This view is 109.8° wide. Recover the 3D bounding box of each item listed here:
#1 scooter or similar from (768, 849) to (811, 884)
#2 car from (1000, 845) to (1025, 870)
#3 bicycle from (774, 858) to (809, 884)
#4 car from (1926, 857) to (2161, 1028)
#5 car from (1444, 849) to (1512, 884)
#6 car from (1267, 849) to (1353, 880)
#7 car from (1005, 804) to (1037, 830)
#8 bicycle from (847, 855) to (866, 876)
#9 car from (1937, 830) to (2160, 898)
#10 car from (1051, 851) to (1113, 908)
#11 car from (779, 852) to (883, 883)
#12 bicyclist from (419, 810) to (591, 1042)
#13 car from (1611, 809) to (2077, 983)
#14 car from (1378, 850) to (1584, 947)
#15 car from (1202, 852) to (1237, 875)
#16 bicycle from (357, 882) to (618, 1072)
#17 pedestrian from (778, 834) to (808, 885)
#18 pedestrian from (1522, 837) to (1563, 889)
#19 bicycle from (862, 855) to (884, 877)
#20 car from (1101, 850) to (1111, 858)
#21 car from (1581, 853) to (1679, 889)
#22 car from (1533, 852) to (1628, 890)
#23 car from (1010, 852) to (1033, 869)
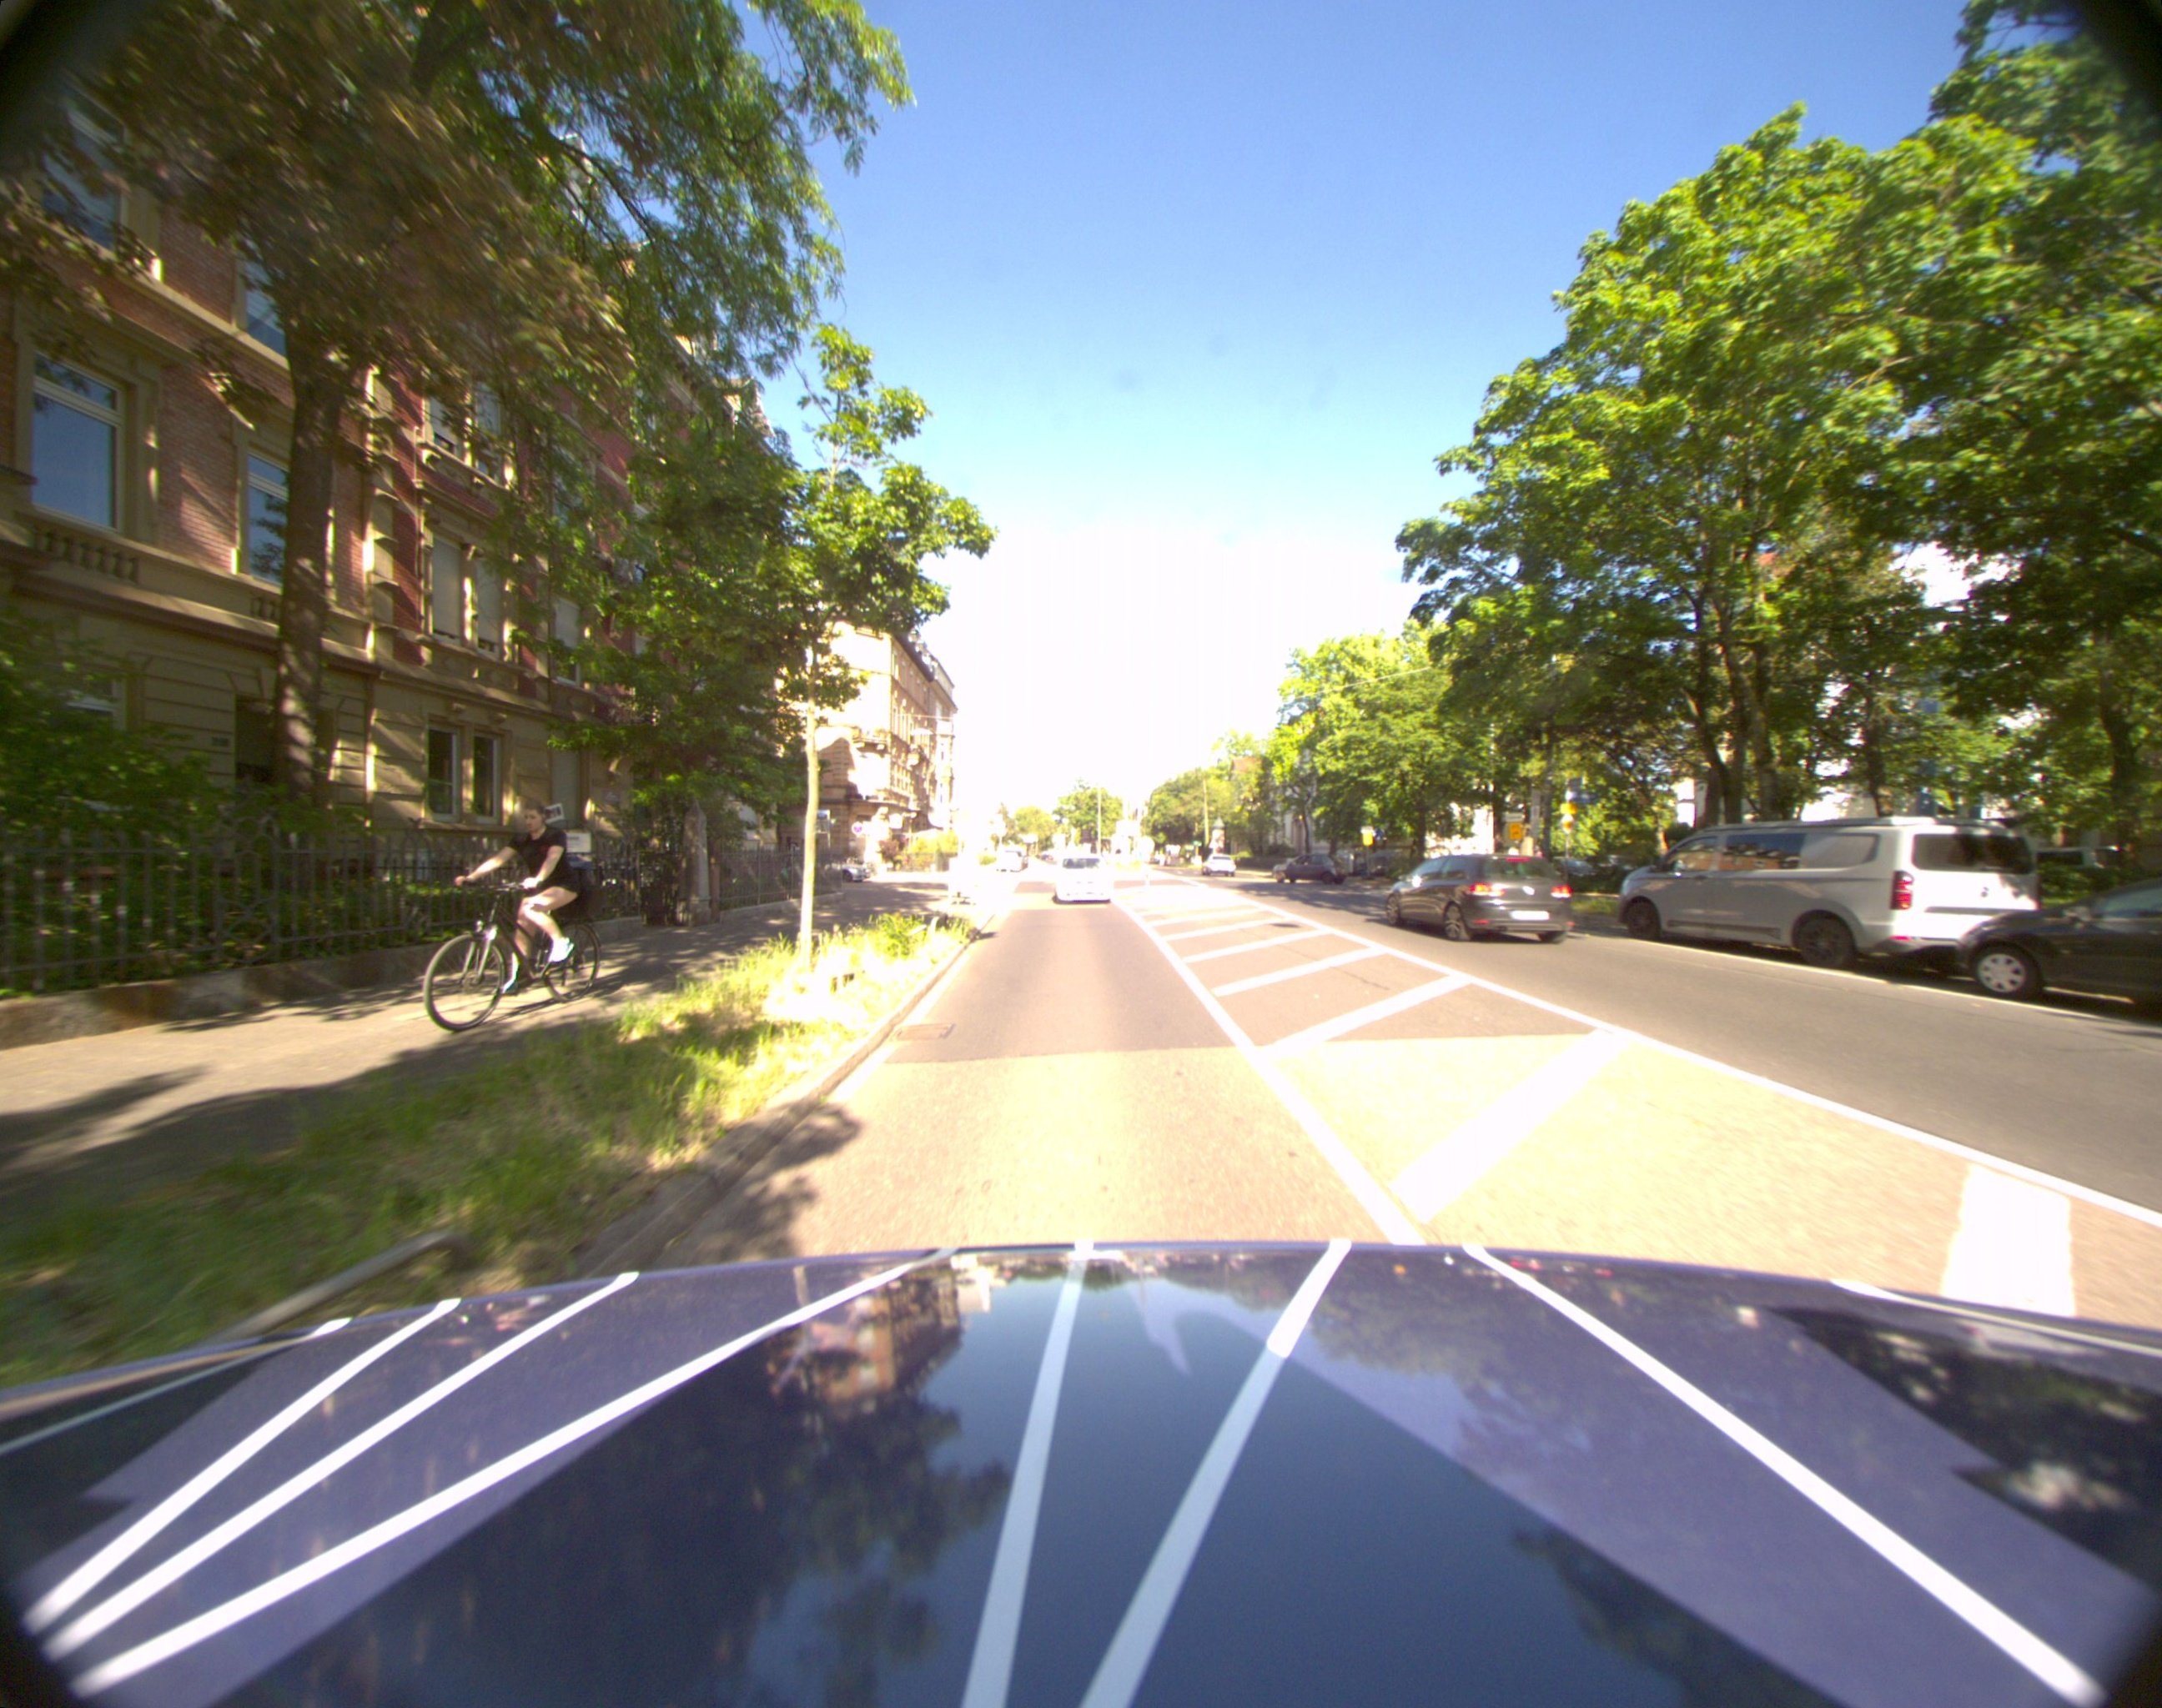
[{"bbox_3d":[-10.783,0.443,28.174,0.759,1.256,1.411,2,2,18],"label":"scooter or similar"},{"bbox_3d":[-5.273,0.233,58.863,1.694,1.862,3.560,0,0,-2],"label":"car"},{"bbox_3d":[-12.956,0.747,34.075,0.584,1.128,2.020,0,0,6],"label":"bicycle"},{"bbox_3d":[10.427,0.829,6.745,1.467,1.493,3.958,1,1,2],"label":"car"},{"bbox_3d":[20.691,0.597,39.820,1.891,1.679,4.703,1,1,11],"label":"car"},{"bbox_3d":[11.611,0.501,38.526,3.770,1.482,1.848,1,1,34],"label":"car"},{"bbox_3d":[-3.823,-2.355,49.184,1.847,1.432,4.105,2,0,-2],"label":"car"},{"bbox_3d":[-12.549,0.634,42.477,0.585,1.128,2.018,1,2,-4],"label":"bicycle"},{"bbox_3d":[34.725,0.324,27.560,1.893,2.233,4.917,0,1,2],"label":"car"},{"bbox_3d":[-0.016,0.707,23.405,1.653,1.449,3.895,-3,1,-1],"label":"car"},{"bbox_3d":[-12.286,0.633,37.502,4.416,1.409,2.047,1,1,3],"label":"car"},{"bbox_3d":[-4.533,0.535,6.048,0.647,1.685,0.889,3,1,-3],"label":"bicyclist"},{"bbox_3d":[10.827,0.487,11.521,1.989,2.024,4.874,2,1,-2],"label":"car"},{"bbox_3d":[6.867,0.670,13.574,1.596,1.441,4.133,0,1,2],"label":"car"},{"bbox_3d":[9.171,0.594,50.700,1.808,1.485,4.714,0,0,4],"label":"car"},{"bbox_3d":[-4.544,0.865,6.025,0.654,1.170,1.842,3,0,-3],"label":"bicycle"},{"bbox_3d":[-10.773,0.218,28.423,0.764,1.881,0.695,2,-1,31],"label":"pedestrian"},{"bbox_3d":[15.832,0.311,26.065,0.872,1.745,0.819,-1,1,-9],"label":"pedestrian"},{"bbox_3d":[-11.704,0.668,42.763,0.735,1.128,2.017,0,2,-3],"label":"bicycle"},{"bbox_3d":[4.934,0.008,150.092,1.594,1.420,3.715,1,1,-2],"label":"car"},{"bbox_3d":[27.952,0.828,38.921,1.892,1.679,4.701,1,1,5],"label":"car"},{"bbox_3d":[25.360,0.795,38.795,1.893,1.679,4.699,0,2,3],"label":"car"},{"bbox_3d":[-6.085,0.664,77.770,1.893,1.679,4.699,-1,1,0],"label":"car"}]
